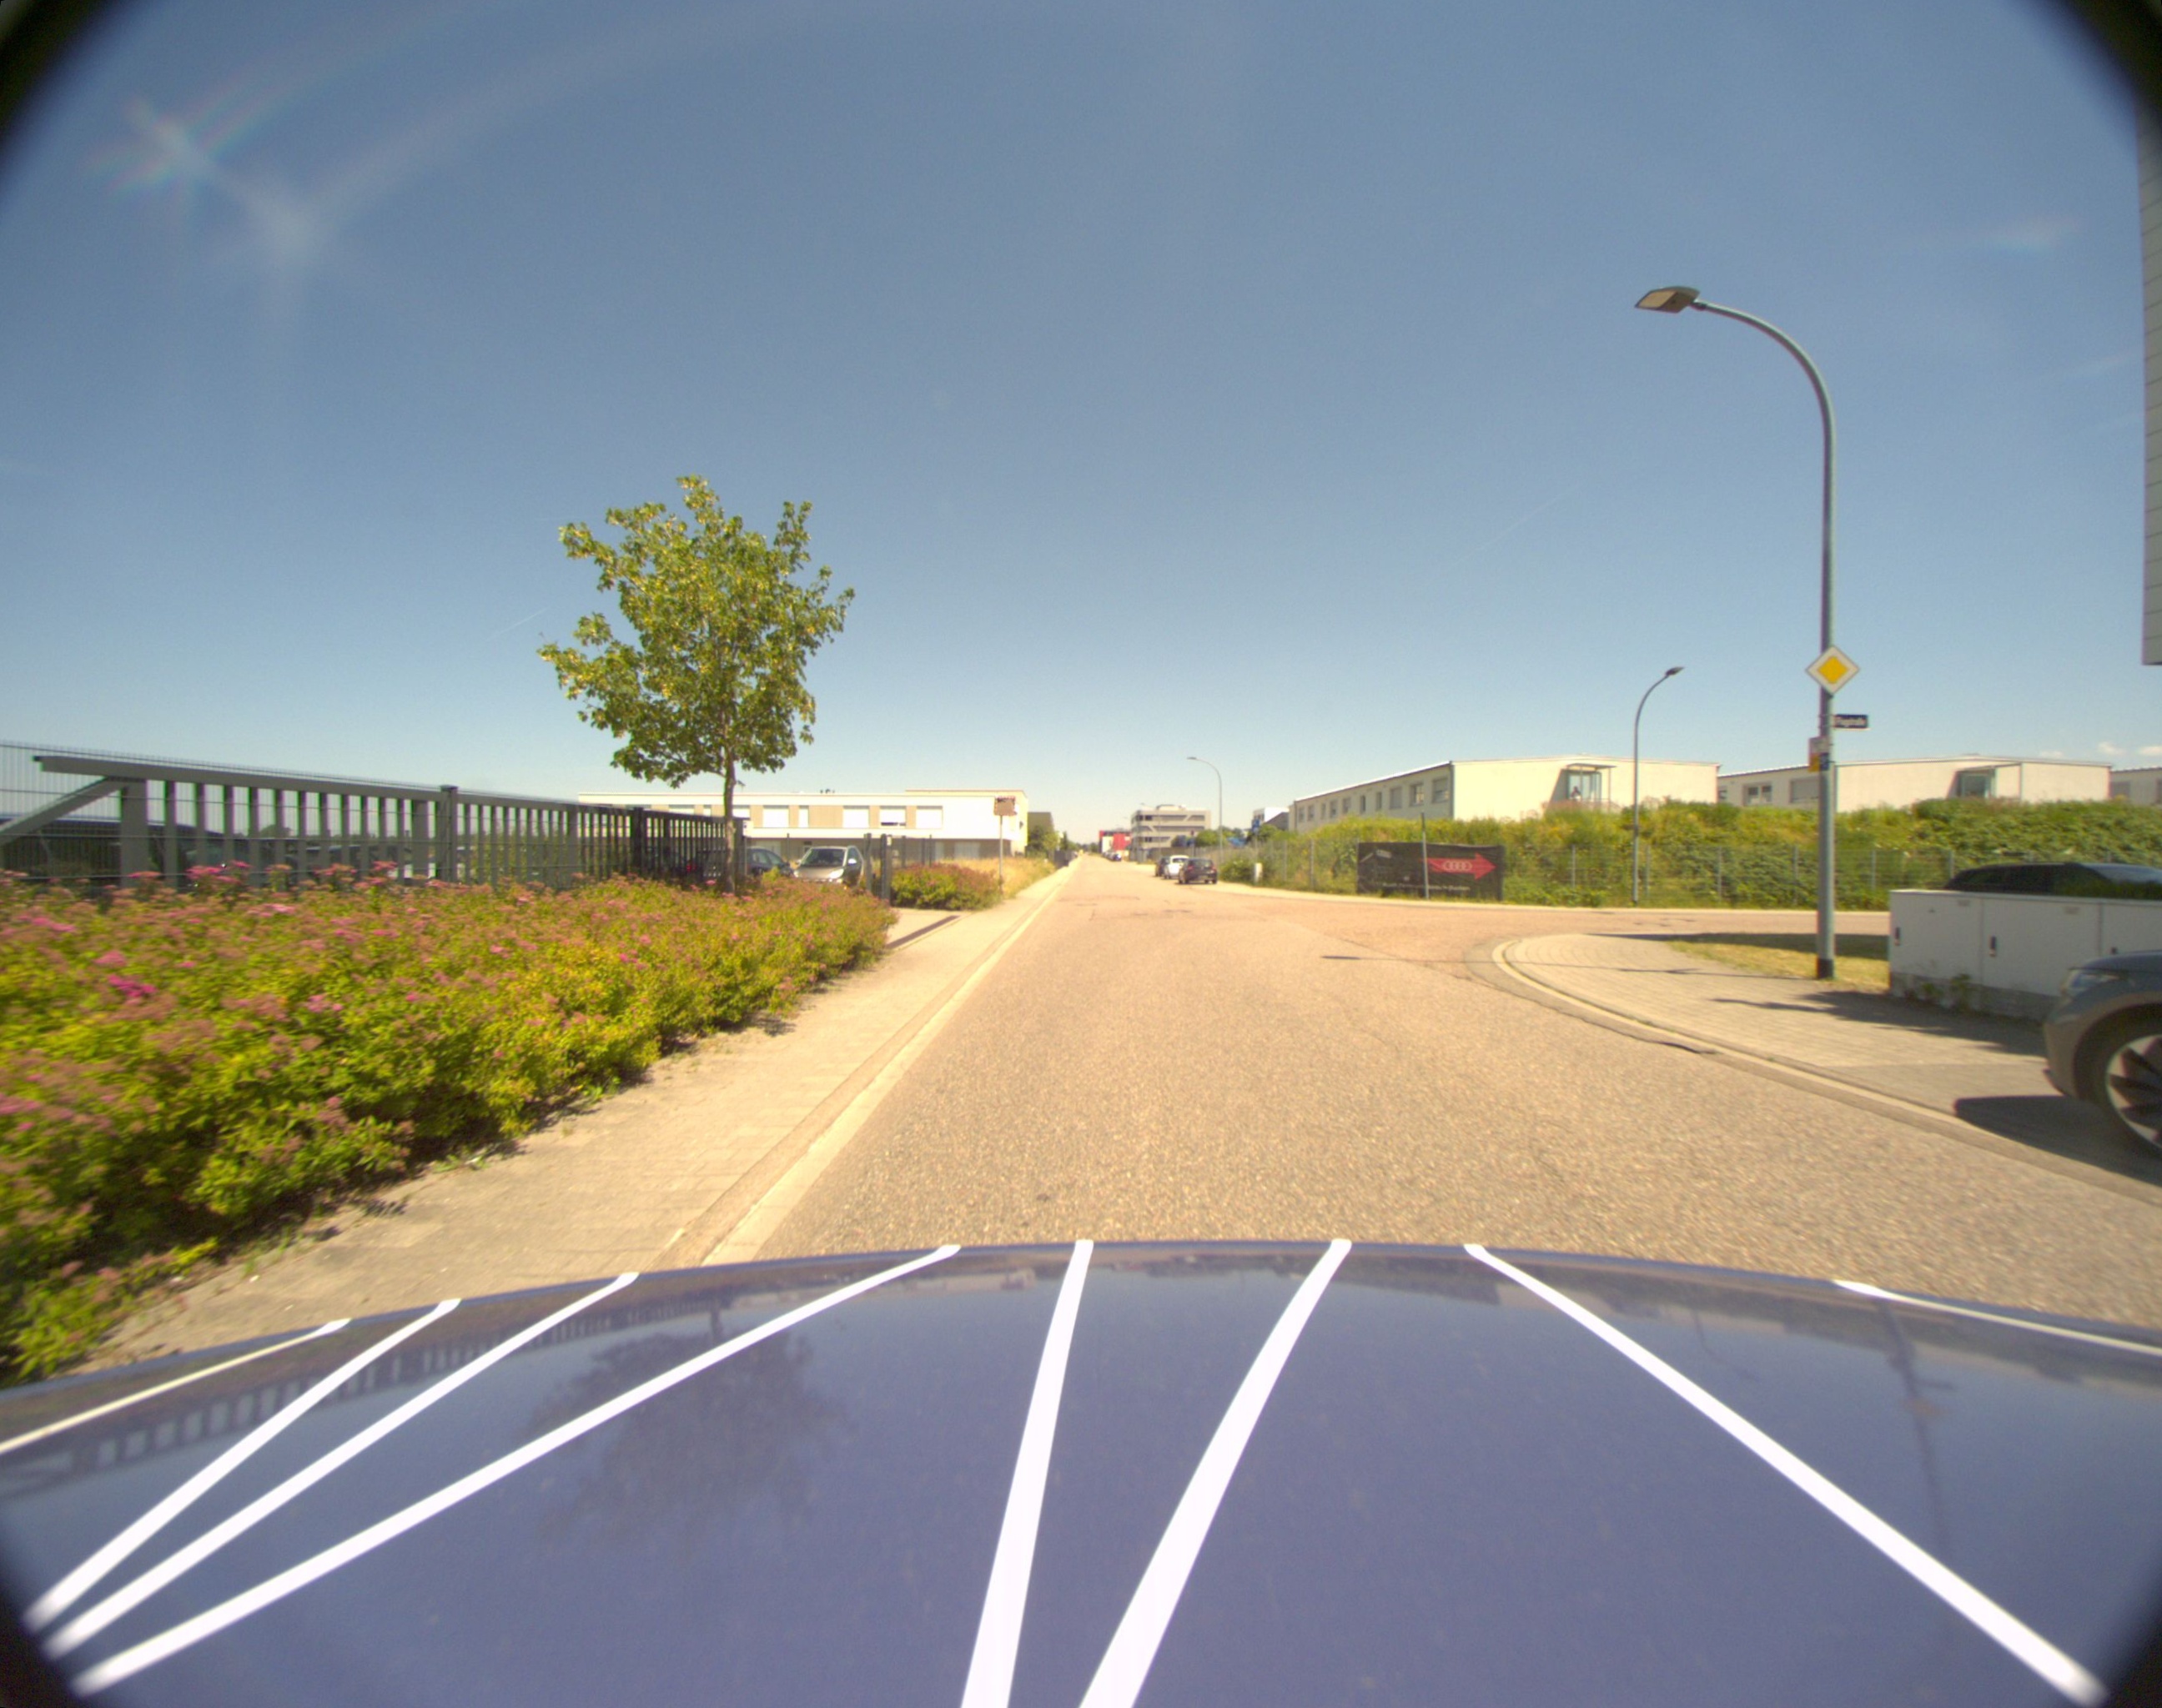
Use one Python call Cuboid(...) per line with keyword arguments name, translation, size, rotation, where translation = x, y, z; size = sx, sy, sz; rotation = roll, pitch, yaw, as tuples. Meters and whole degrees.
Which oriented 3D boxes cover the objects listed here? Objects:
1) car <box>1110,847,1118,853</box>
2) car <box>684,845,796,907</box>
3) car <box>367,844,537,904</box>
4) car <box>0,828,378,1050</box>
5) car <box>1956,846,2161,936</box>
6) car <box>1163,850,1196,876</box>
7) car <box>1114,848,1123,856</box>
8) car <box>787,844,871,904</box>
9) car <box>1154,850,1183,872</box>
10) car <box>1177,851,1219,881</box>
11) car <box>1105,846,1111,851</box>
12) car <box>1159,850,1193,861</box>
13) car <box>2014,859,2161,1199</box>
Cuboid(name="car", translation=(8.083, -1.023, 187.839), size=(1.772, 1.521, 3.777), rotation=(-2, 1, 1))
Cuboid(name="car", translation=(-9.053, 0.525, 20.444), size=(1.518, 1.487, 3.331), rotation=(1, 1, -1))
Cuboid(name="car", translation=(-16.226, 0.448, 19.837), size=(1.518, 1.389, 3.539), rotation=(1, 1, -1))
Cuboid(name="car", translation=(-8.401, 0.580, 6.281), size=(1.814, 1.543, 3.577), rotation=(1, 0, 0))
Cuboid(name="car", translation=(19.878, 0.705, 14.080), size=(1.809, 1.583, 4.906), rotation=(2, -2, 3))
Cuboid(name="car", translation=(6.554, 0.563, 50.823), size=(1.678, 1.521, 3.757), rotation=(-2, 1, 0))
Cuboid(name="car", translation=(7.504, -0.398, 152.253), size=(1.695, 1.481, 3.660), rotation=(-2, 1, 1))
Cuboid(name="car", translation=(-7.124, 0.516, 21.680), size=(1.470, 1.565, 2.661), rotation=(1, 1, 0))
Cuboid(name="car", translation=(6.552, 0.482, 57.164), size=(1.678, 1.521, 3.909), rotation=(-1, 1, 0))
Cuboid(name="car", translation=(6.343, 0.634, 41.508), size=(1.678, 1.442, 4.068), rotation=(-2, 1, 0))
Cuboid(name="car", translation=(8.221, -1.721, 234.371), size=(1.772, 1.521, 3.777), rotation=(-2, 1, 1))
Cuboid(name="car", translation=(12.353, 0.133, 99.333), size=(4.257, 1.371, 1.862), rotation=(1, 1, 2))
Cuboid(name="car", translation=(5.996, 0.821, 1.895), size=(1.775, 1.578, 4.480), rotation=(-1, 0, -2))
